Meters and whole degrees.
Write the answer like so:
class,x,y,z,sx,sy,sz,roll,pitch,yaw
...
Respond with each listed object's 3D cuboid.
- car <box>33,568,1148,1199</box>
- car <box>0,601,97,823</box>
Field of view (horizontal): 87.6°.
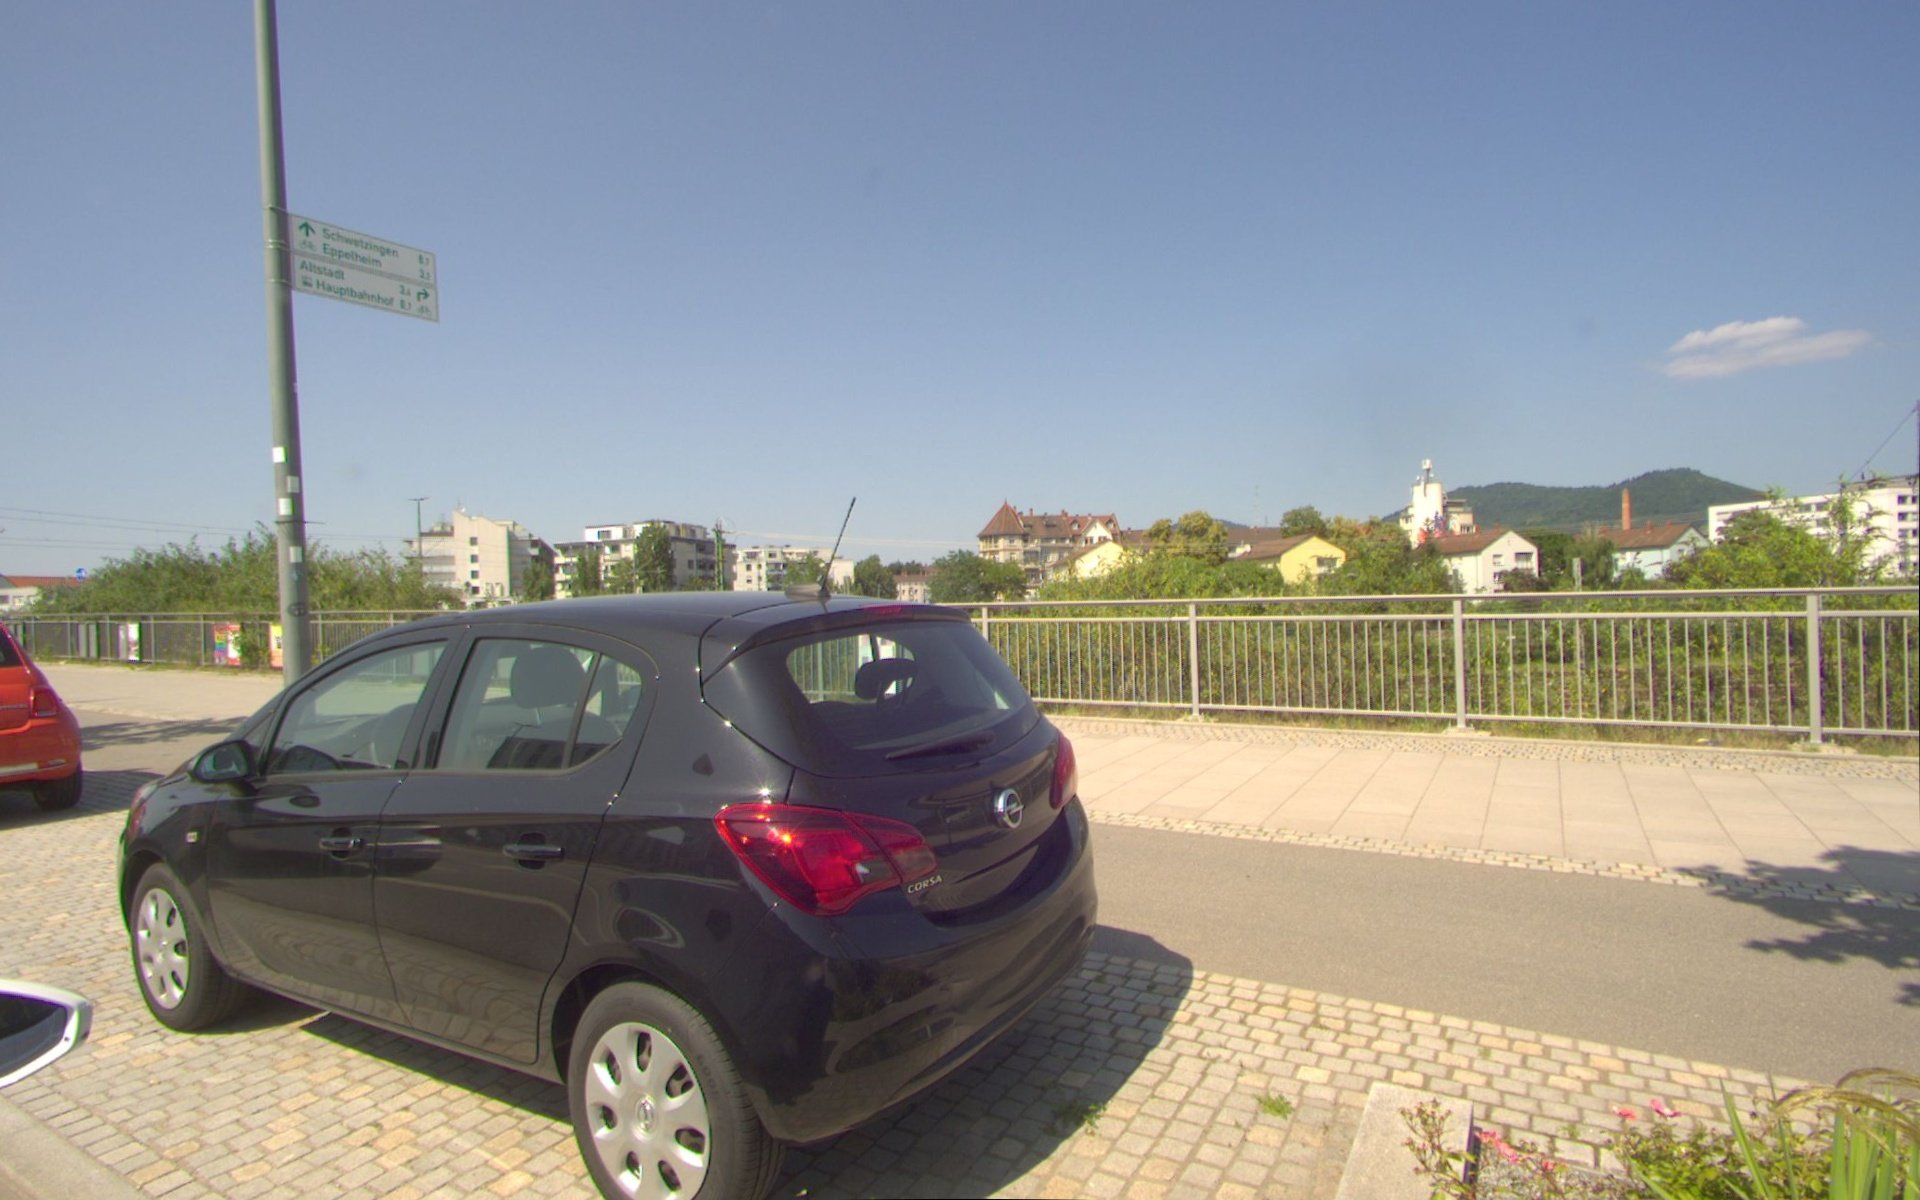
class,x,y,z,sx,sy,sz,roll,pitch,yaw
car,-1.503,0.685,3.594,3.943,1.446,1.656,-1,1,32
car,-8.167,0.806,7.578,3.305,1.517,1.605,-1,2,34
